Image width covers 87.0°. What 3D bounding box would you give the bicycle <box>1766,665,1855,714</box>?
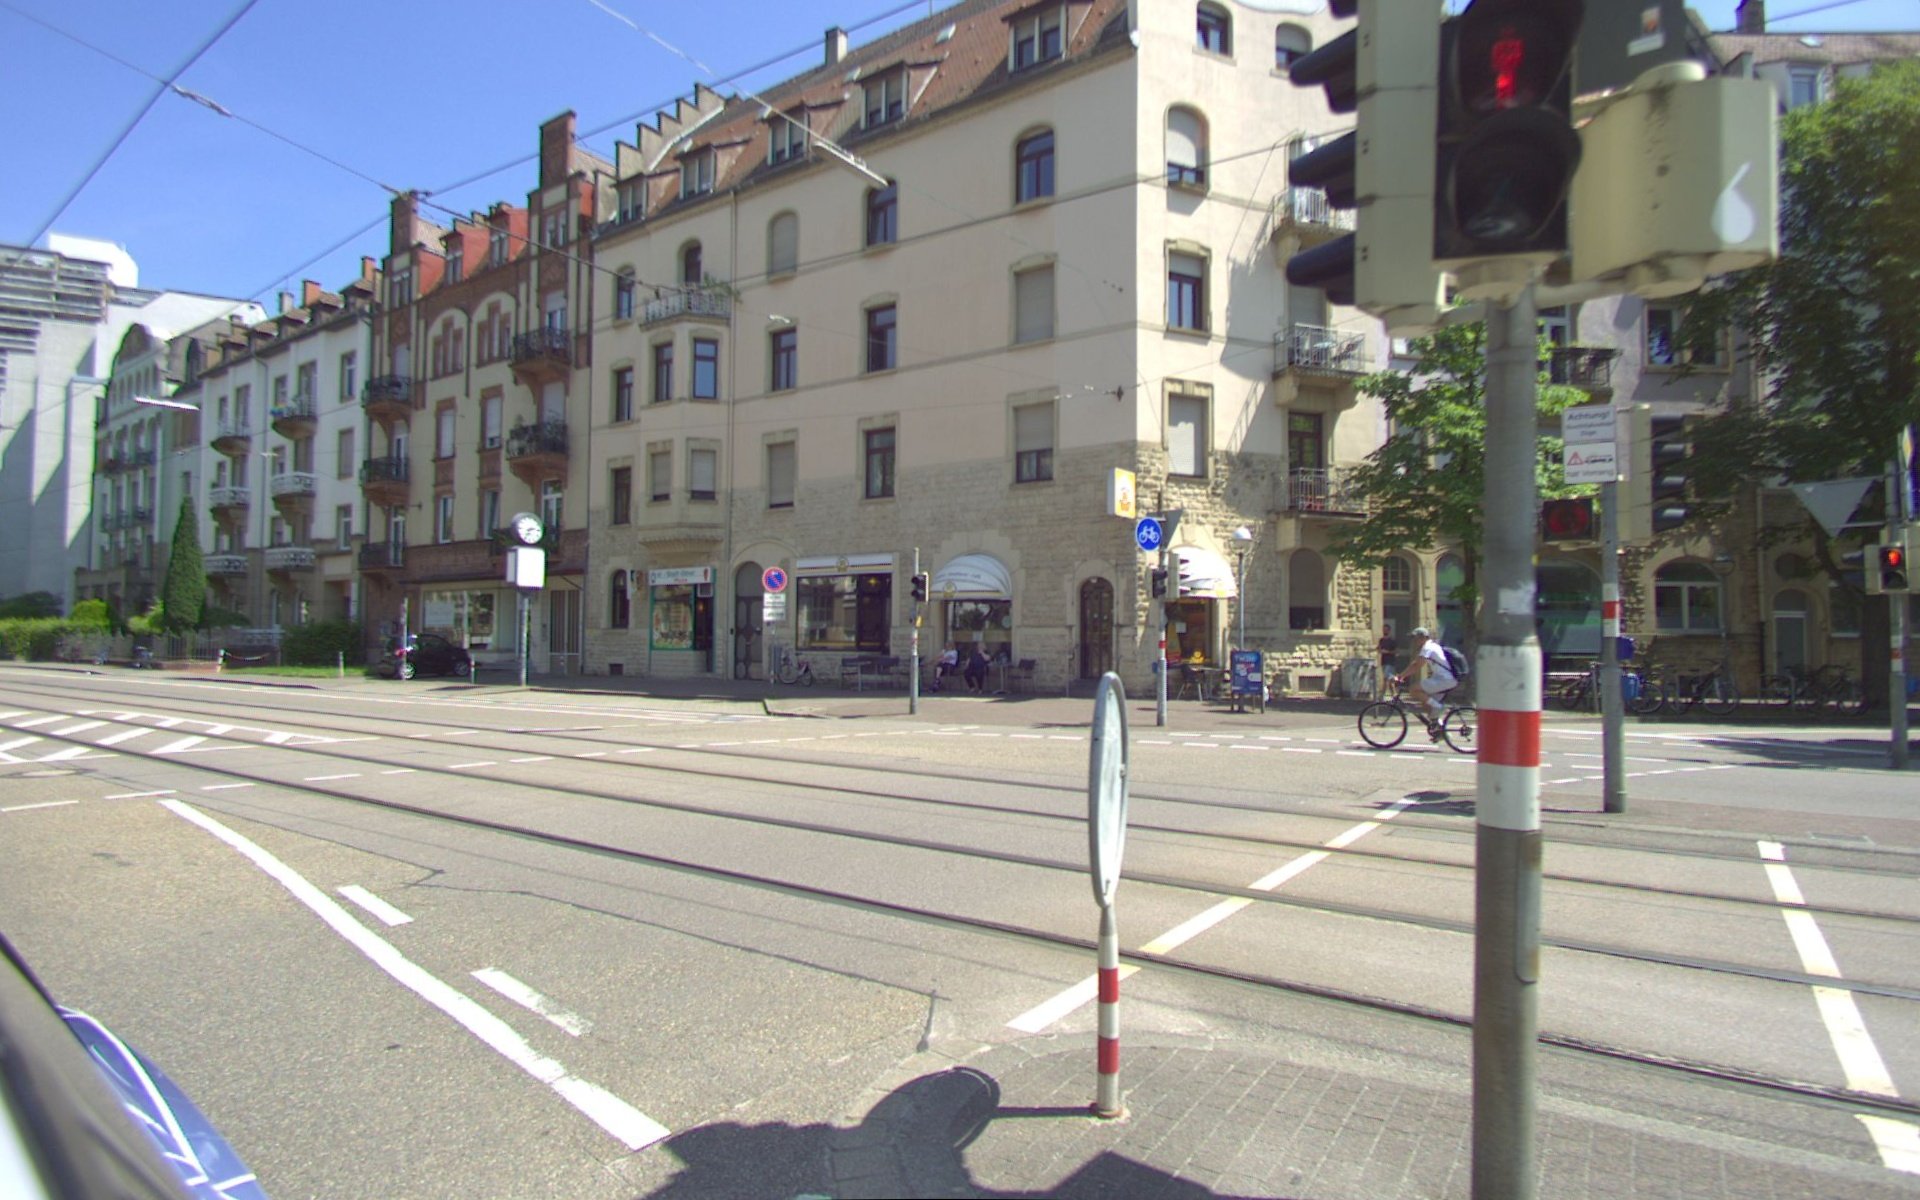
[{"bbox_3d":[18.898,1.964,22.526,0.285,0.981,1.677,1,-2,-13],"label":"bicycle"}]

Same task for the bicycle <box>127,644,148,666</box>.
[{"bbox_3d":[-35.542,2.369,43.707,1.610,0.924,0.250,-2,-2,35],"label":"bicycle"}]

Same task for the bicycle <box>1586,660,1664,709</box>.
[{"bbox_3d":[14.572,1.842,22.218,0.285,0.981,1.677,1,-2,-13],"label":"bicycle"}]

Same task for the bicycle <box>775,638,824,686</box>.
[{"bbox_3d":[-4.465,1.694,28.078,0.448,1.234,2.085,2,-2,-35],"label":"bicycle"}]

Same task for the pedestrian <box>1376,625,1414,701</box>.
[{"bbox_3d":[10.176,1.453,23.667,0.726,1.744,0.540,-1,-2,32],"label":"pedestrian"}]

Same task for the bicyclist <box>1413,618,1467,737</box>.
[{"bbox_3d":[6.621,1.050,13.959,0.584,1.586,0.603,-1,-2,35],"label":"bicyclist"}]

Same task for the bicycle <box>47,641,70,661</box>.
[{"bbox_3d":[-45.152,2.542,50.670,2.042,0.978,0.396,-2,-2,35],"label":"bicycle"}]

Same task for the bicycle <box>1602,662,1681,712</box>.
[{"bbox_3d":[14.973,1.892,22.275,0.285,0.981,1.677,1,-2,-13],"label":"bicycle"}]

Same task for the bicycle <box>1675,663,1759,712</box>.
[{"bbox_3d":[16.601,1.904,22.251,0.285,0.981,1.677,1,-2,-13],"label":"bicycle"}]

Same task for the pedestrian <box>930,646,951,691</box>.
[{"bbox_3d":[-0.482,1.692,25.068,0.404,1.097,0.352,-1,-2,32],"label":"pedestrian"}]

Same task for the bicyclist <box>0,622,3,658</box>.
[{"bbox_3d":[-44.473,1.840,46.486,0.578,1.676,0.605,-1,-3,34],"label":"bicyclist"}]

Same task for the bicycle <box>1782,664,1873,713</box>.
[{"bbox_3d":[19.345,1.948,22.602,0.285,0.981,1.677,1,-2,-13],"label":"bicycle"}]

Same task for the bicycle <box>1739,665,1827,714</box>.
[{"bbox_3d":[18.120,1.949,22.319,0.285,0.981,1.677,1,-2,-13],"label":"bicycle"}]

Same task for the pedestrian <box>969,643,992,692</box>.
[{"bbox_3d":[0.497,1.634,24.518,0.404,1.157,0.402,-1,-2,31],"label":"pedestrian"}]

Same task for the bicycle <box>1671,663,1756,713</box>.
[{"bbox_3d":[16.328,1.897,21.969,0.285,0.981,1.677,1,-2,-13],"label":"bicycle"}]

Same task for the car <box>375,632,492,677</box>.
[{"bbox_3d":[-18.410,1.867,35.482,1.528,1.483,3.321,-2,-2,38],"label":"car"}]

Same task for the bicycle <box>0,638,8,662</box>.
[{"bbox_3d":[-44.518,2.271,46.498,2.181,1.083,0.638,-1,-3,35],"label":"bicycle"}]

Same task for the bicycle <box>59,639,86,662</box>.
[{"bbox_3d":[-43.399,2.452,49.482,2.042,1.105,0.488,-2,-2,35],"label":"bicycle"}]

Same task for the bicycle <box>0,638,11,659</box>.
[{"bbox_3d":[-53.657,2.712,56.697,1.928,1.173,0.336,-1,-2,35],"label":"bicycle"}]

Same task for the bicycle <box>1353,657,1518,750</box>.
[{"bbox_3d":[6.547,1.397,13.994,1.973,1.166,0.623,-2,-2,35],"label":"bicycle"}]

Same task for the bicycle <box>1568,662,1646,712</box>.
[{"bbox_3d":[13.882,1.852,21.757,0.285,0.981,1.677,1,-2,-13],"label":"bicycle"}]

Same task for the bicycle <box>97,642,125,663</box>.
[{"bbox_3d":[-38.678,2.382,46.096,1.949,0.956,0.458,-2,-2,35],"label":"bicycle"}]

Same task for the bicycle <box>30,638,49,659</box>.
[{"bbox_3d":[-48.428,2.549,53.226,1.895,1.054,0.287,-1,-2,35],"label":"bicycle"}]
